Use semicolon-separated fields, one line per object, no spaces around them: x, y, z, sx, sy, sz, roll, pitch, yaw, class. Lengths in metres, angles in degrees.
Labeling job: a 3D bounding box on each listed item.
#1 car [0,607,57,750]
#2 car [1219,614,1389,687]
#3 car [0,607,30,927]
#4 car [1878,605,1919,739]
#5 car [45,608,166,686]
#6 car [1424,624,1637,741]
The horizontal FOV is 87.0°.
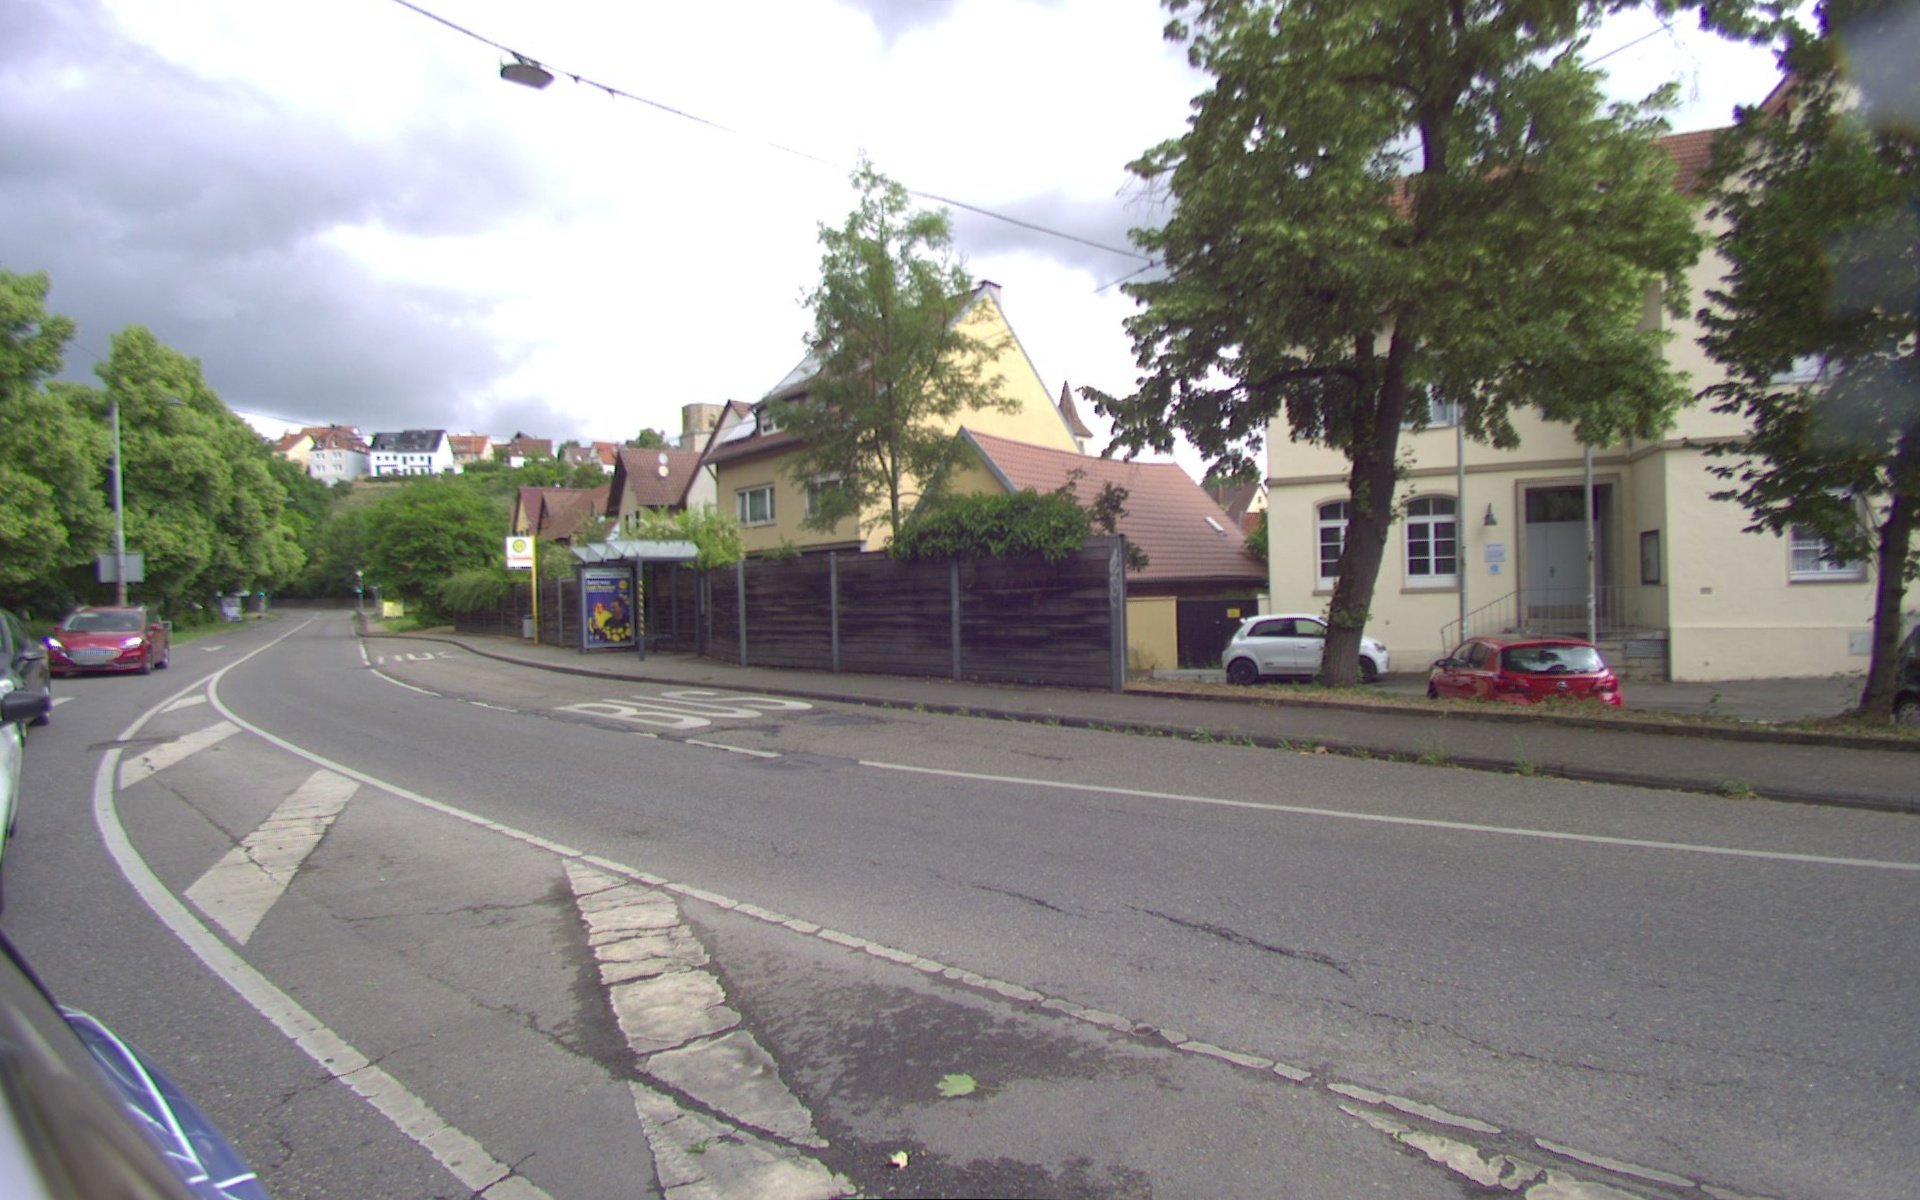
-12.163;0.887;12.125;1.698;1.559;3.790;-1;0;-37;car
7.749;1.111;22.929;3.487;1.528;1.581;-1;0;20;car
-6.030;0.819;5.281;1.594;1.525;3.610;-1;0;-41;car
12.701;0.892;11.590;1.586;1.644;3.093;-1;0;2;car
-20.660;1.065;24.626;1.799;1.685;4.068;-1;0;-34;car
8.128;1.107;14.773;1.590;1.389;3.544;-1;0;10;car
